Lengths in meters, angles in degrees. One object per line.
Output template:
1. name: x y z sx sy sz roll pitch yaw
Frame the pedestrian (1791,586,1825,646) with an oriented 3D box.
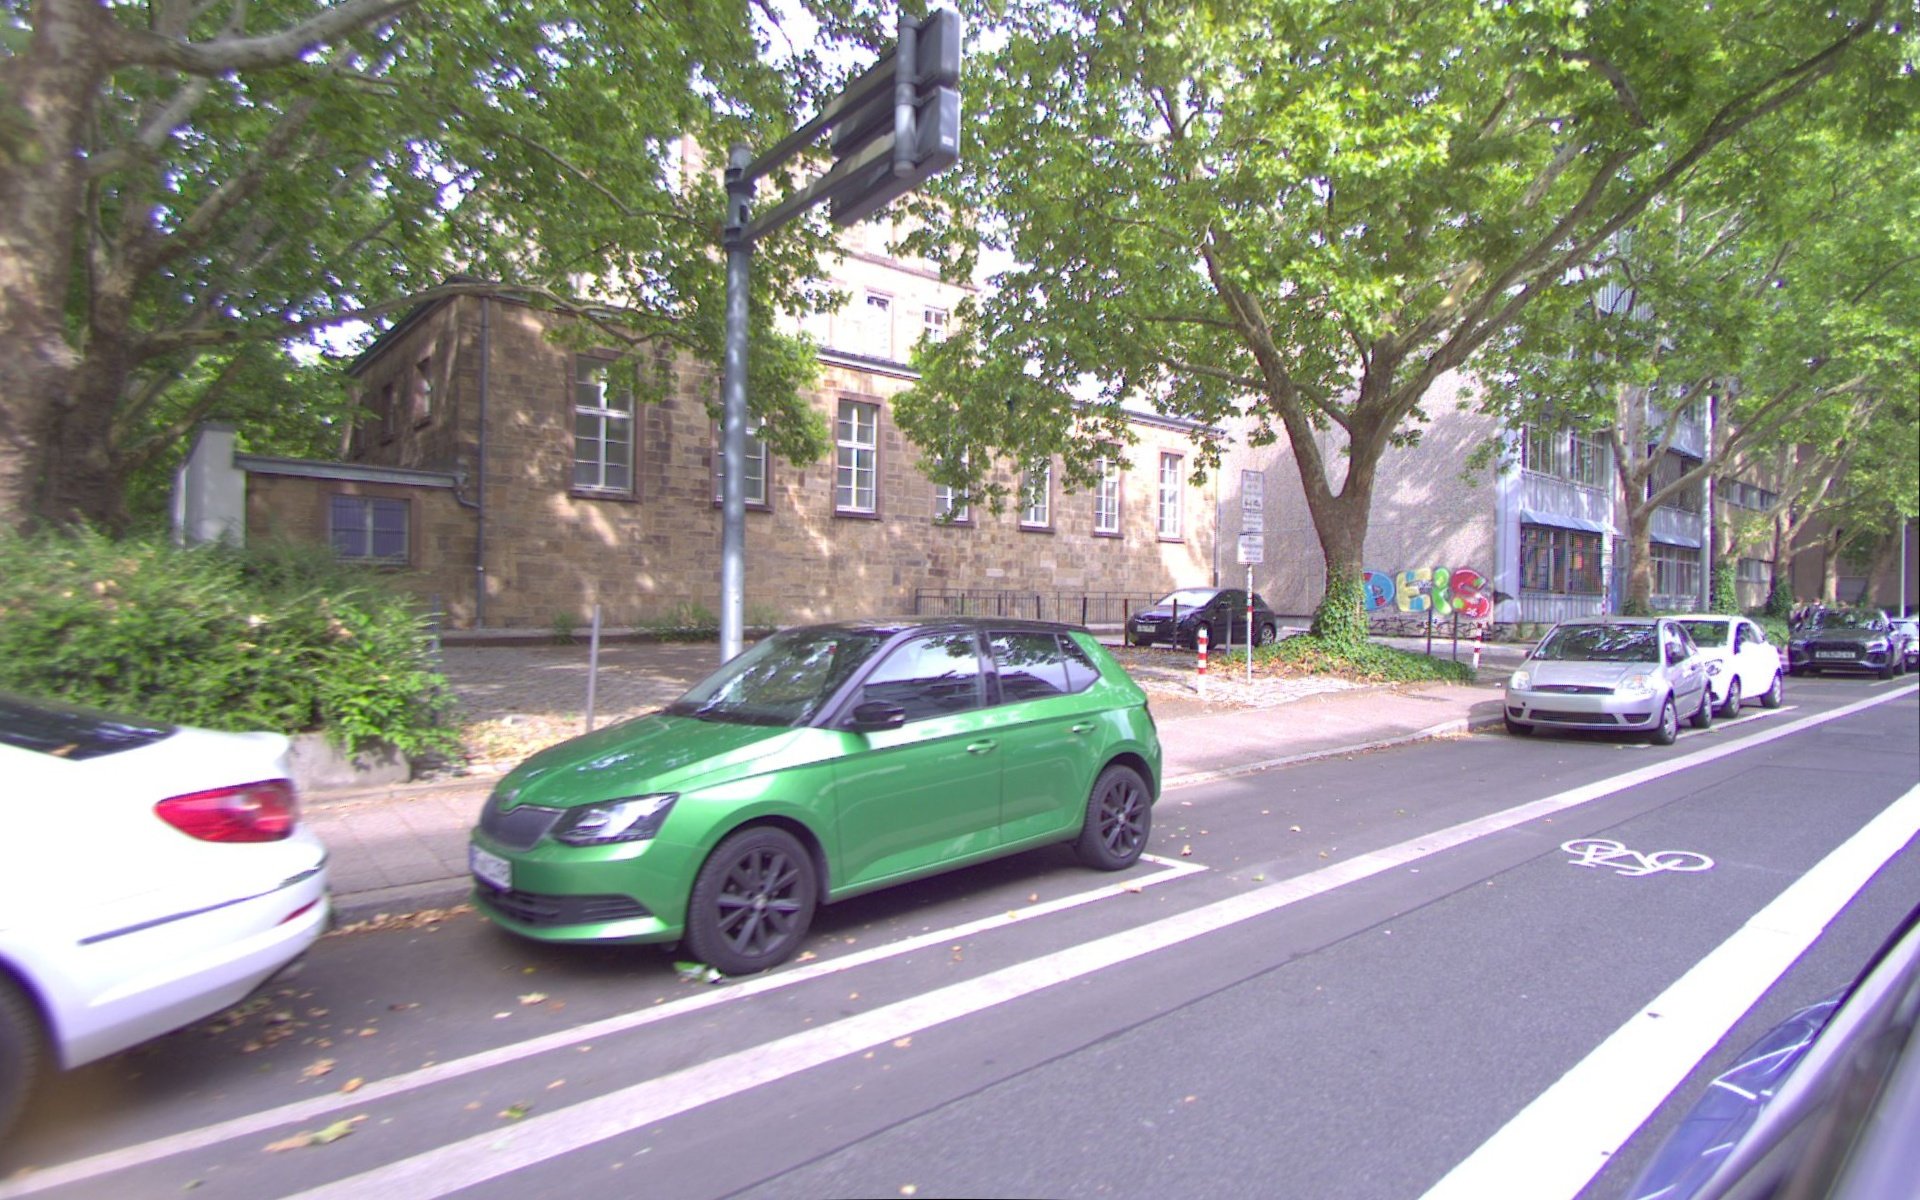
1. pedestrian: 27.304 0.515 32.592 0.634 1.855 0.643 0 4 -41

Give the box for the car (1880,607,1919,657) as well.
1. car: 29.256 0.945 30.607 3.885 1.441 1.601 0 -1 -40

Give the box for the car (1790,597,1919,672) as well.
1. car: 21.809 0.791 24.558 4.404 1.642 1.923 0 -1 -42

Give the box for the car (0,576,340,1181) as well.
1. car: -4.098 0.724 2.203 4.467 1.535 1.682 0 -2 -43

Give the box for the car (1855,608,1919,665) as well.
1. car: 25.925 0.942 27.566 4.492 1.451 1.642 0 -1 -40

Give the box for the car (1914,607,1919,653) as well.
1. car: 33.479 0.985 33.984 4.361 1.524 1.601 0 -1 -40

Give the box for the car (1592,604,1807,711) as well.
1. car: 11.669 0.803 15.878 4.143 1.466 1.757 0 -1 -40

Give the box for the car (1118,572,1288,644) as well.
1. car: 5.622 0.220 23.156 4.223 1.468 1.671 3 -2 -42

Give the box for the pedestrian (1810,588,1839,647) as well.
1. pedestrian: 27.365 0.555 32.028 0.518 1.806 0.502 0 4 -41

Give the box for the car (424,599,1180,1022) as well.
1. car: -0.598 0.755 5.397 3.741 1.468 1.589 0 -2 -43

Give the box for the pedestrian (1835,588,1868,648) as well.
1. pedestrian: 27.780 0.562 31.544 0.468 1.806 0.592 0 4 -41

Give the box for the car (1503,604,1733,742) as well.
1. car: 8.363 0.800 12.733 3.819 1.466 1.643 1 -1 -45
